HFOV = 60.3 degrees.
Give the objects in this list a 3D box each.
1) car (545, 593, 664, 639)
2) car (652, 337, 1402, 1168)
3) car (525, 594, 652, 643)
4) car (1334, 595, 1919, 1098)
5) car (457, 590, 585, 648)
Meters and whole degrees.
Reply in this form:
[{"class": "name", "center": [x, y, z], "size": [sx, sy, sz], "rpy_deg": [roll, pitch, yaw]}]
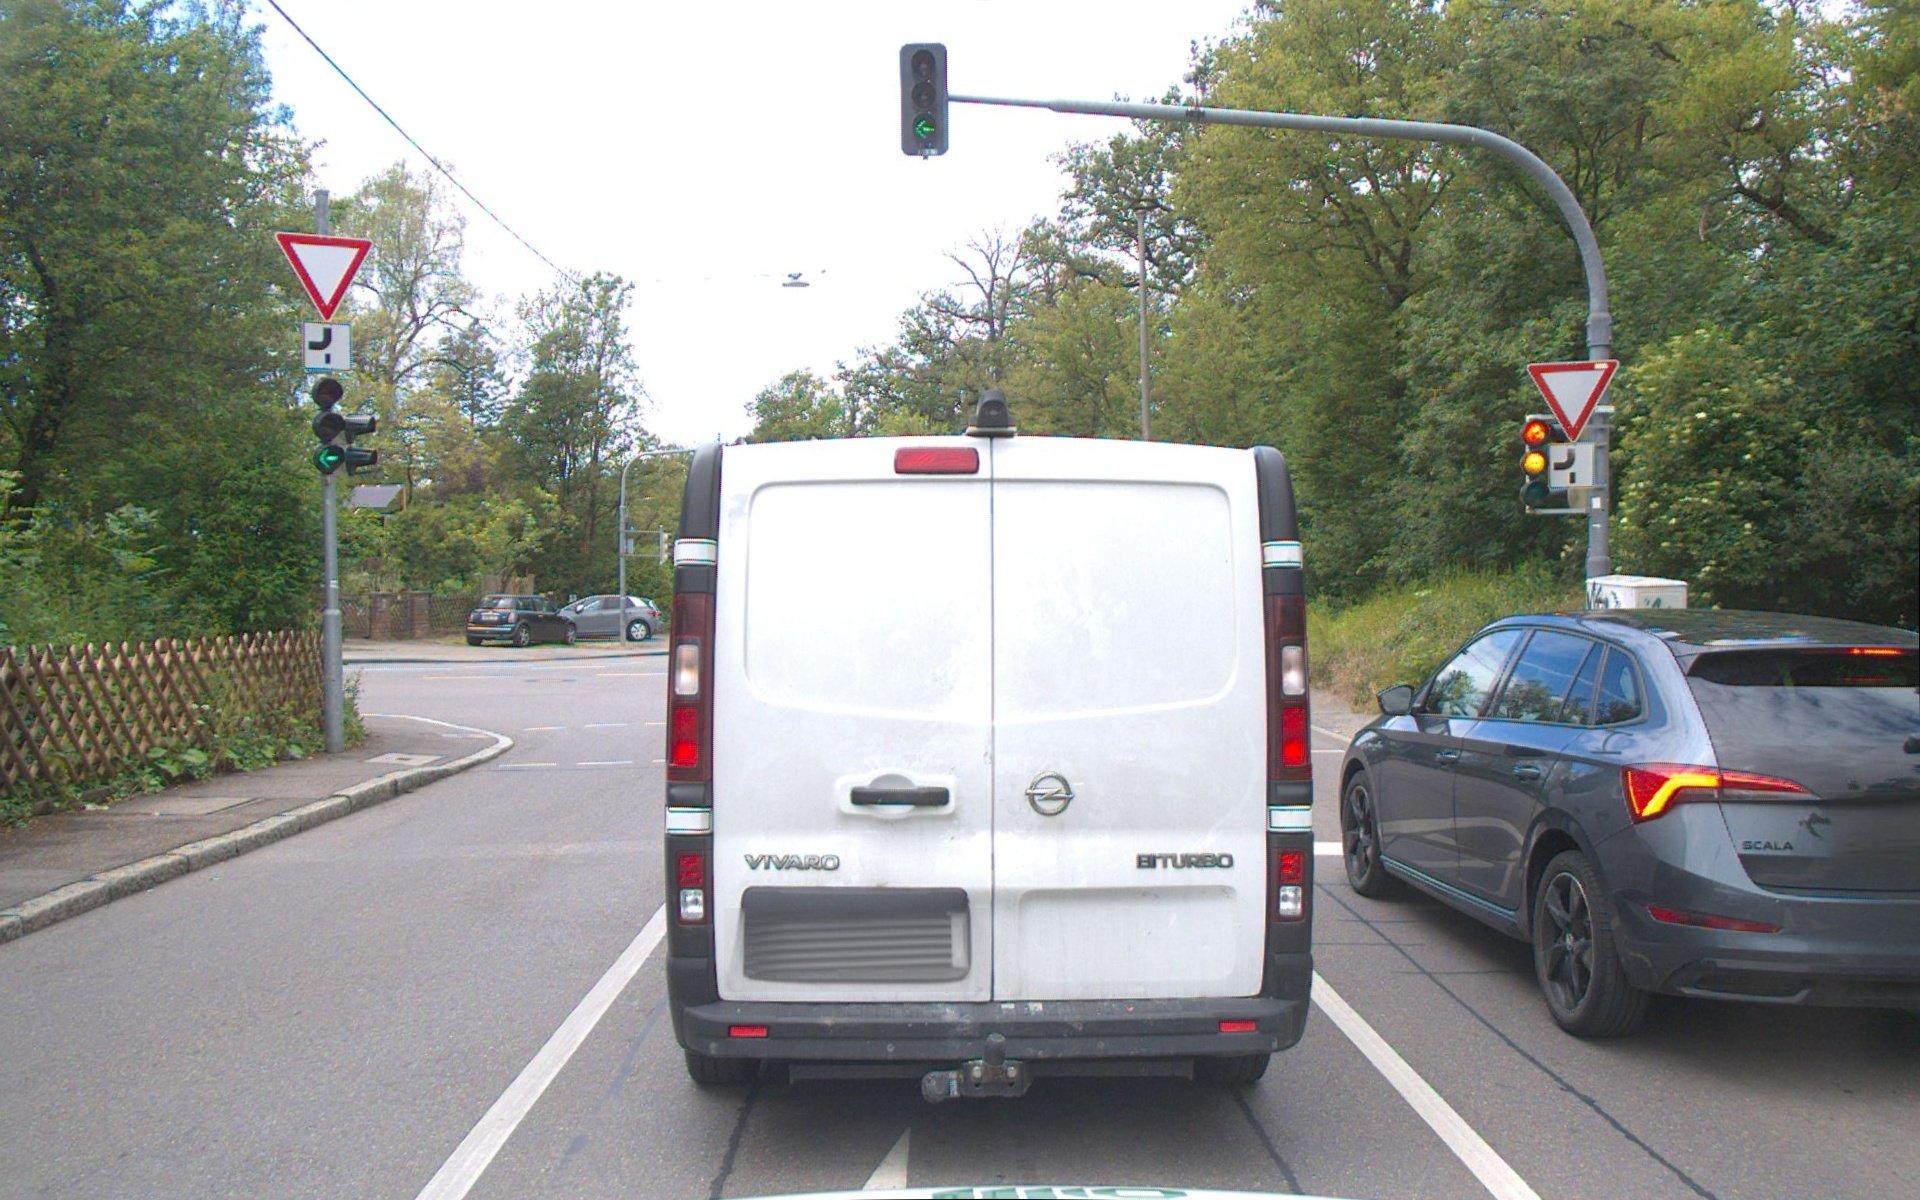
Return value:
[{"class": "car", "center": [-12.691, 0.544, 58.984], "size": [4.023, 1.580, 1.845], "rpy_deg": [0, 1, -18]}, {"class": "car", "center": [0.068, 0.388, 6.532], "size": [1.878, 2.089, 4.611], "rpy_deg": [1, 0, -3]}, {"class": "car", "center": [-12.545, 0.593, 55.814], "size": [4.023, 1.580, 1.845], "rpy_deg": [0, 1, -18]}, {"class": "car", "center": [2.961, 0.725, 6.946], "size": [1.756, 1.476, 3.998], "rpy_deg": [0, 0, -2]}, {"class": "car", "center": [-12.046, 0.501, 45.584], "size": [1.662, 1.474, 3.544], "rpy_deg": [2, 0, 19]}]
